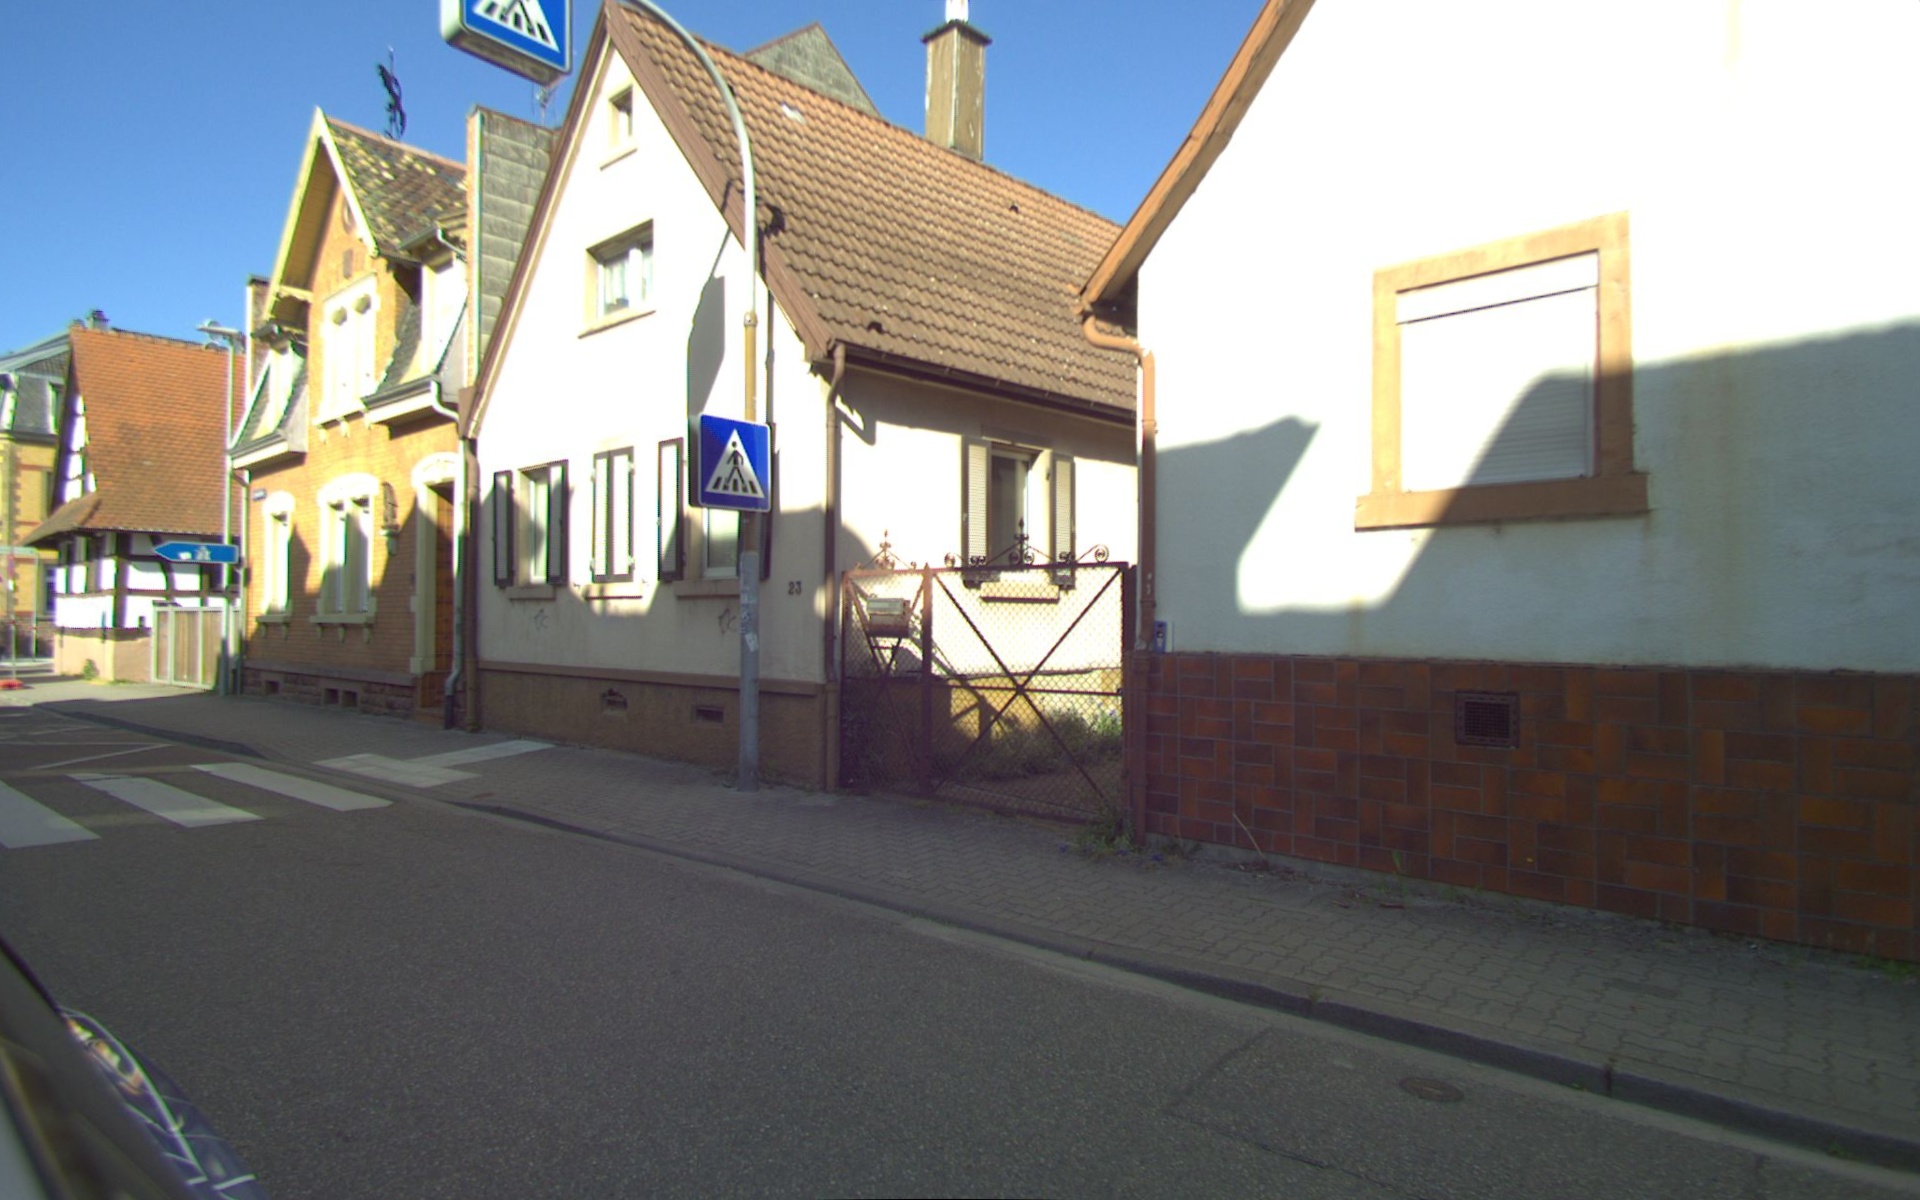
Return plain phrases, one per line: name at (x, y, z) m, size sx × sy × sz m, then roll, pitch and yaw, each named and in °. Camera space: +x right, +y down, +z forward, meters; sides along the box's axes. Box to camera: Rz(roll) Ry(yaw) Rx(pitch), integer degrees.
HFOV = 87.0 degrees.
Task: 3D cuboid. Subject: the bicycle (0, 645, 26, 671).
bicycle at (-30.194, 1.830, 31.279) m, size 0.624 × 0.785 × 1.888 m, roll -1°, pitch 1°, yaw 39°
